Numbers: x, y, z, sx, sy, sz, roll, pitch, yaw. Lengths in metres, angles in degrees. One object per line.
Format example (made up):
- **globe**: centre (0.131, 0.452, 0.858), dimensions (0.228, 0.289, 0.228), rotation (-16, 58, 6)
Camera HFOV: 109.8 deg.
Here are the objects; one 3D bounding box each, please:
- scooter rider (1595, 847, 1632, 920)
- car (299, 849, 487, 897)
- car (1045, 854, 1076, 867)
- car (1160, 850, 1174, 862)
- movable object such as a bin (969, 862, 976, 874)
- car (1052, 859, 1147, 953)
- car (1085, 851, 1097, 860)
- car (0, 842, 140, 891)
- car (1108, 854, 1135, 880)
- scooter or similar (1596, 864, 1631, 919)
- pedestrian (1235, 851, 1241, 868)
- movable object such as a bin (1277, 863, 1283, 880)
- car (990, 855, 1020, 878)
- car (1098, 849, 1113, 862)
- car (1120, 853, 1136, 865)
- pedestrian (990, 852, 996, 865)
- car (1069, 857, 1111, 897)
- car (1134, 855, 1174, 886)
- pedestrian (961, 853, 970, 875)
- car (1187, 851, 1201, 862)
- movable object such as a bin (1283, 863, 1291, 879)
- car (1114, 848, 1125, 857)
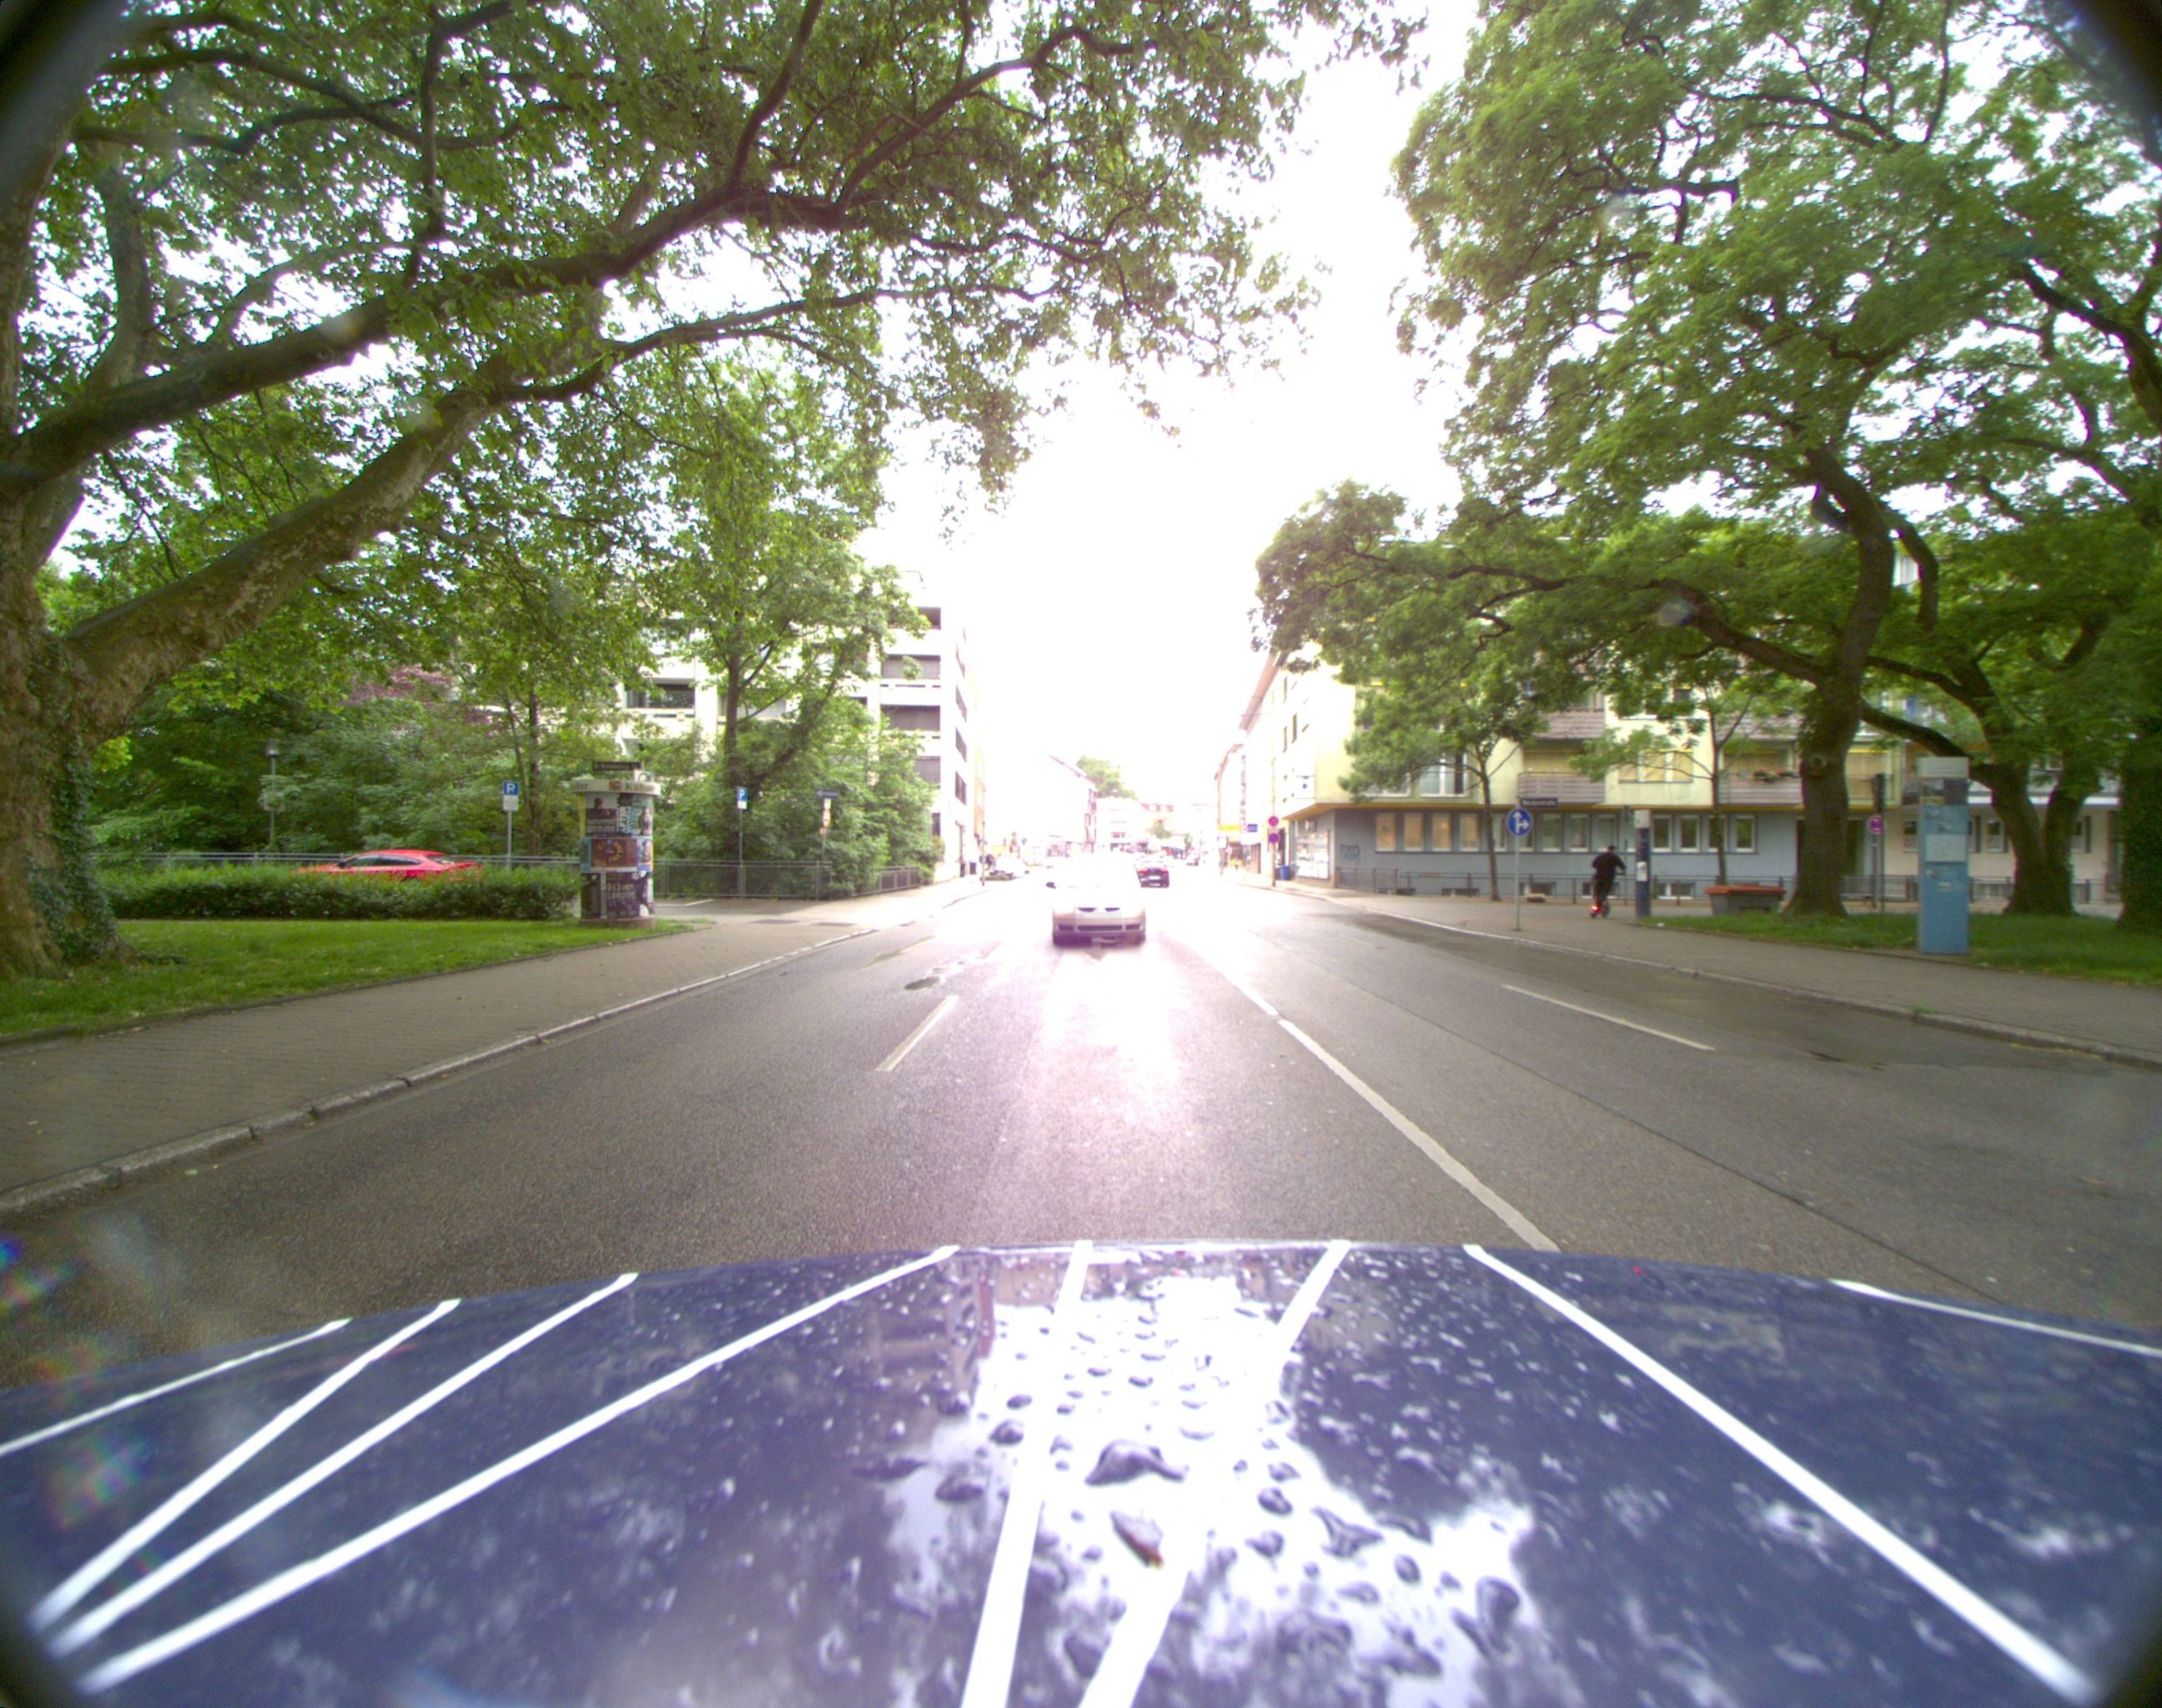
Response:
- **scooter rider**: centre (13.493, 0.735, 19.278), dimensions (0.711, 1.806, 0.699), rotation (-1, -1, 33)
- **car**: centre (-19.425, 0.519, 21.574), dimensions (3.790, 1.271, 1.576), rotation (1, 1, -3)
- **car**: centre (-2.496, 0.794, 93.897), dimensions (3.599, 1.528, 1.606), rotation (-2, 1, -8)
- **car**: centre (12.564, 0.336, 110.730), dimensions (1.867, 1.648, 4.001), rotation (1, 0, 4)
- **movable object such as a bin**: centre (-8.993, 1.164, 62.944), dimensions (0.556, 1.035, 0.292), rotation (1, 1, 0)
- **car**: centre (0.338, 0.888, 14.402), dimensions (1.576, 1.514, 3.241), rotation (-1, 0, 1)
- **car**: centre (1.578, 0.208, 120.023), dimensions (1.802, 1.433, 3.897), rotation (1, 0, 1)
- **car**: centre (-29.010, 0.337, 21.197), dimensions (3.468, 1.271, 1.448), rotation (1, 1, -5)
- **car**: centre (2.741, 0.834, 51.982), dimensions (1.584, 1.705, 3.649), rotation (1, 0, 0)
- **scooter or similar**: centre (13.495, 0.941, 19.272), dimensions (0.676, 1.373, 0.669), rotation (-1, -1, 32)
- **pedestrian**: centre (17.167, 0.615, 82.985), dimensions (0.594, 1.833, 0.565), rotation (1, 1, 8)
- **movable object such as a bin**: centre (12.695, 1.112, 48.550), dimensions (0.338, 1.023, 0.353), rotation (1, 1, 8)
- **car**: centre (-5.313, 0.859, 53.518), dimensions (1.681, 1.424, 3.681), rotation (3, 0, 1)
- **car**: centre (3.628, 0.142, 112.420), dimensions (1.935, 1.817, 3.999), rotation (-2, 1, 0)
- **car**: centre (6.178, 0.642, 99.856), dimensions (1.998, 1.631, 4.001), rotation (1, 0, 4)
- **pedestrian**: centre (-9.382, 0.459, 81.383), dimensions (0.557, 1.367, 0.504), rotation (1, 1, 1)
- **car**: centre (0.429, 0.907, 31.976), dimensions (1.590, 1.540, 3.771), rotation (1, 0, 2)
- **car**: centre (3.653, 0.807, 38.558), dimensions (1.701, 1.433, 3.897), rotation (1, 0, 1)
- **pedestrian**: centre (-7.986, 0.676, 52.688), dimensions (0.480, 1.521, 0.481), rotation (-2, 1, 1)
- **car**: centre (18.047, 0.342, 121.199), dimensions (1.889, 1.707, 4.001), rotation (1, 0, 4)
- **movable object such as a bin**: centre (13.087, 1.061, 48.307), dimensions (0.415, 1.023, 0.353), rotation (1, 1, 8)
- **car**: centre (7.091, -0.263, 140.738), dimensions (1.889, 1.620, 4.000), rotation (0, 1, 3)
